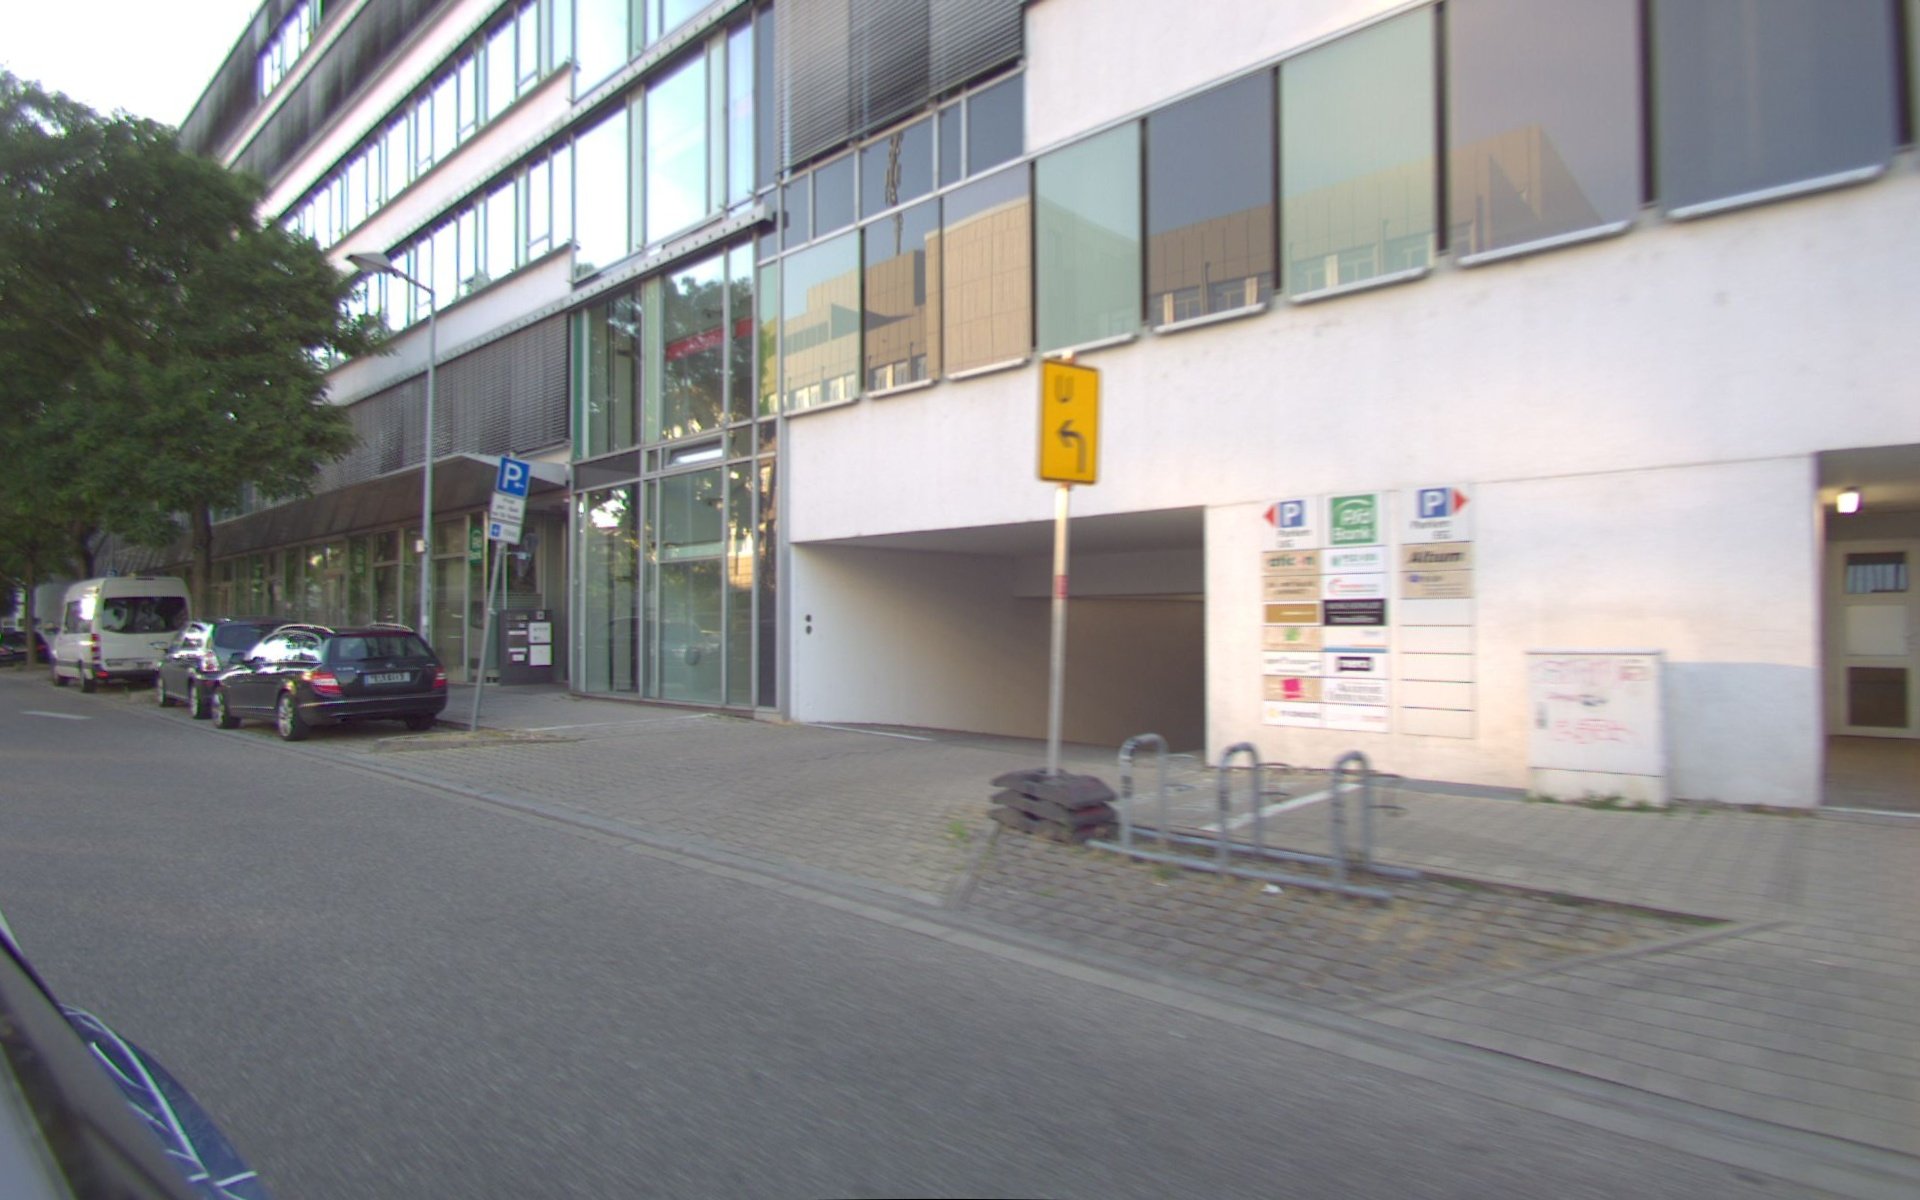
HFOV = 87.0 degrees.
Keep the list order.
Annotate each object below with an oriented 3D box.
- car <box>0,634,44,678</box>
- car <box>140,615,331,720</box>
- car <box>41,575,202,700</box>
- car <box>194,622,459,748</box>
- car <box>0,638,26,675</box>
[{"bbox_3d":[-37.398,2.188,39.744,4.469,1.580,1.573,-3,0,42],"label":"car"},{"bbox_3d":[-12.574,1.102,17.465,4.266,1.583,1.824,-3,-2,42],"label":"car"},{"bbox_3d":[-20.746,0.923,24.882,6.949,2.684,2.078,-3,-2,42],"label":"car"},{"bbox_3d":[-8.800,1.086,13.917,4.392,1.463,1.698,-2,-2,38],"label":"car"},{"bbox_3d":[-41.293,2.430,43.162,4.625,1.472,1.685,-3,0,42],"label":"car"}]
